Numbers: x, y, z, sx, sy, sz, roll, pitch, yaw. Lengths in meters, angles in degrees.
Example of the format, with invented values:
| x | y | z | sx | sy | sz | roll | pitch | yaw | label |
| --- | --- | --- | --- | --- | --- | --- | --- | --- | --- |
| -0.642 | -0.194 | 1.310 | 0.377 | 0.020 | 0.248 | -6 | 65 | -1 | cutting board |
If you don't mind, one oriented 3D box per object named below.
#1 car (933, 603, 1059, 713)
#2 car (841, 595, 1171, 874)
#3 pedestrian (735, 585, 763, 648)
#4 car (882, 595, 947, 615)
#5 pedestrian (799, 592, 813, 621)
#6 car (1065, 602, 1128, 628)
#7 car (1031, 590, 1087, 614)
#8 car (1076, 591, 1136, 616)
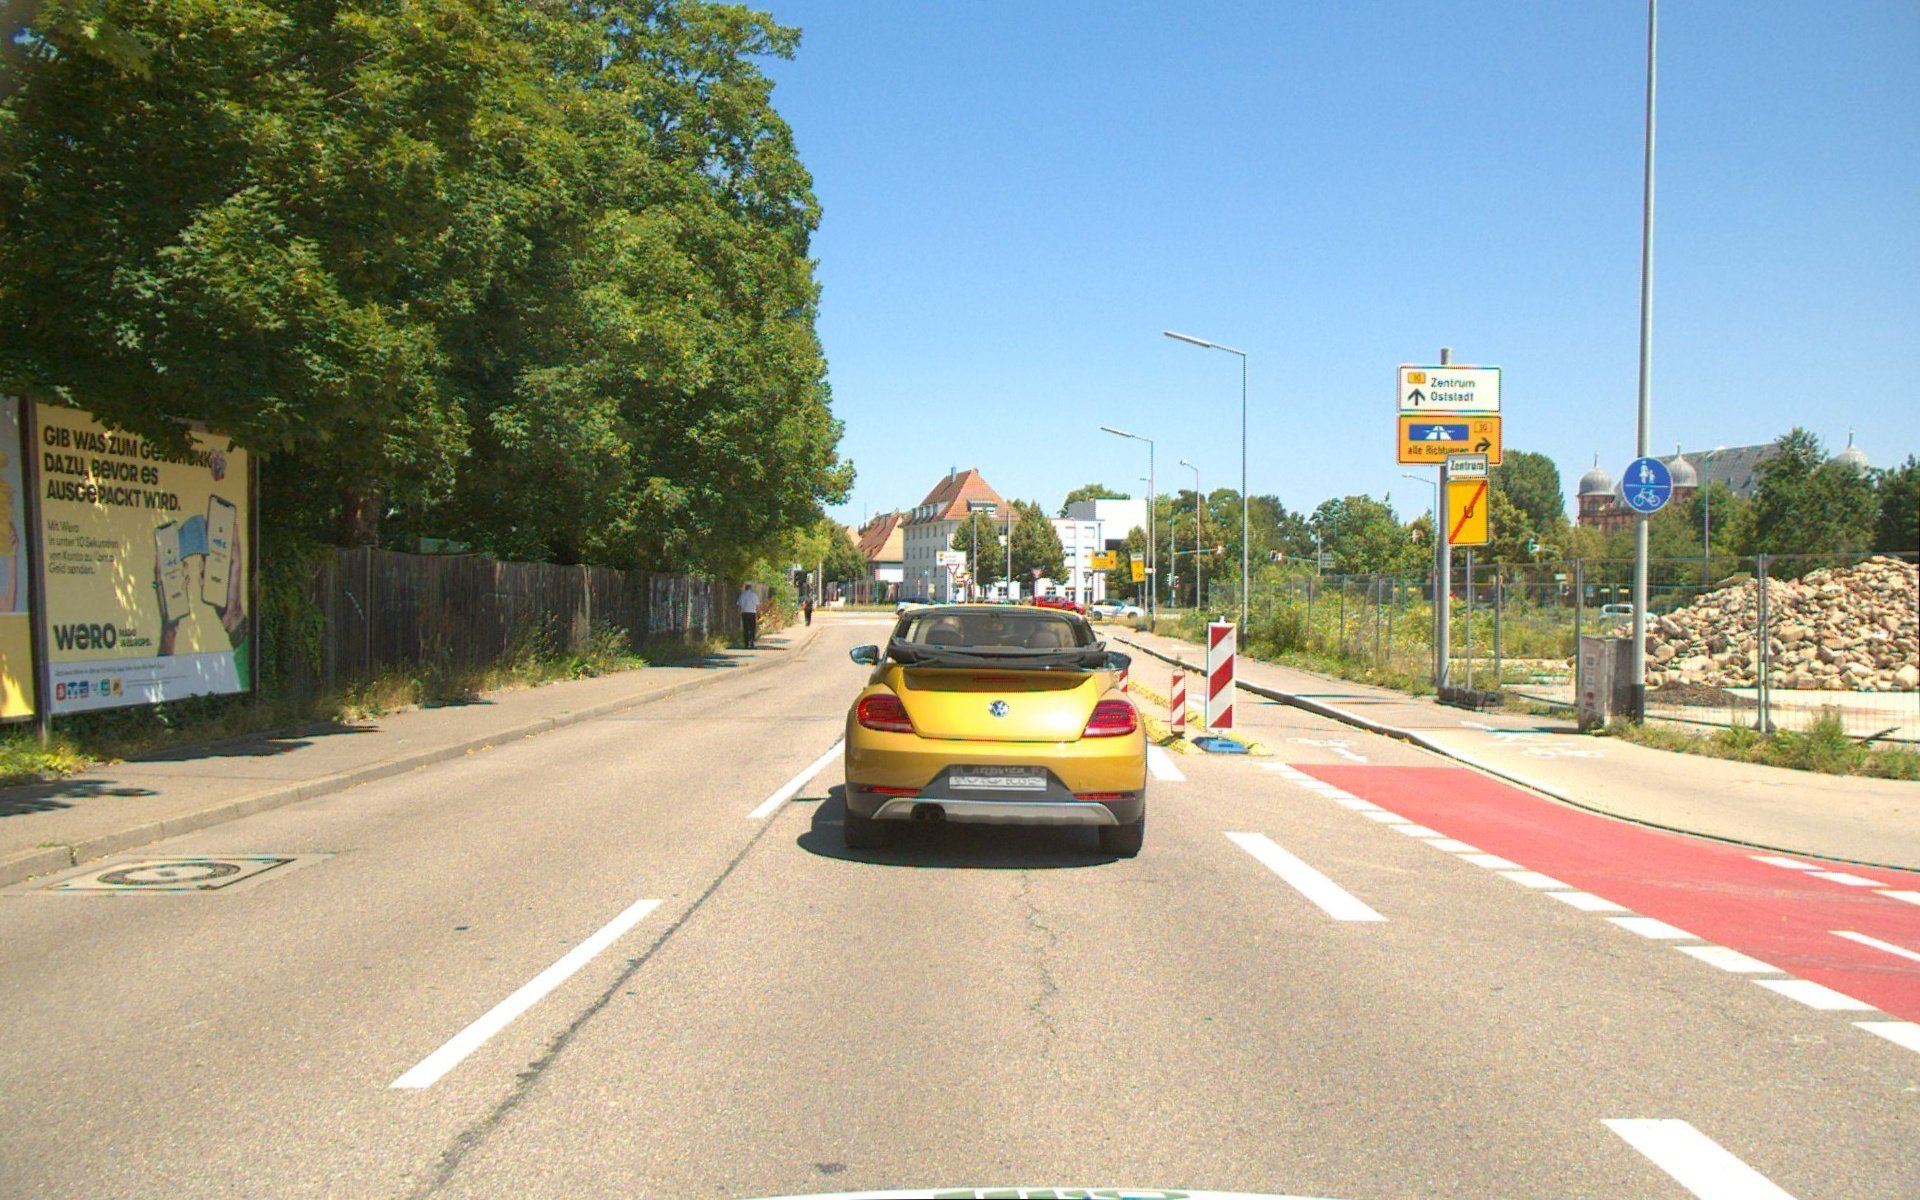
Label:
| x | y | z | sx | sy | sz | roll | pitch | yaw | label |
| --- | --- | --- | --- | --- | --- | --- | --- | --- | --- |
| 0.538 | 0.787 | 24.265 | 1.691 | 1.468 | 4.001 | 0 | 0 | 1 | car |
| 0.235 | 0.711 | 10.721 | 1.753 | 1.462 | 3.813 | 0 | 0 | 0 | car |
| -5.947 | 0.473 | 46.608 | 0.708 | 1.755 | 0.818 | 0 | 0 | -3 | pedestrian |
| -3.129 | 0.343 | 114.476 | 4.346 | 1.381 | 1.538 | 0 | 0 | 7 | car |
| -7.875 | 0.333 | 84.574 | 0.708 | 1.480 | 0.818 | 0 | 0 | -3 | pedestrian |
| 8.871 | 0.971 | 107.322 | 3.901 | 1.641 | 1.792 | -1 | 0 | 11 | car |
| 7.252 | 0.131 | 120.642 | 3.977 | 1.706 | 1.786 | 0 | 0 | 7 | car |
| 9.945 | 0.241 | 112.479 | 3.977 | 1.706 | 1.786 | 0 | 0 | 9 | car |
